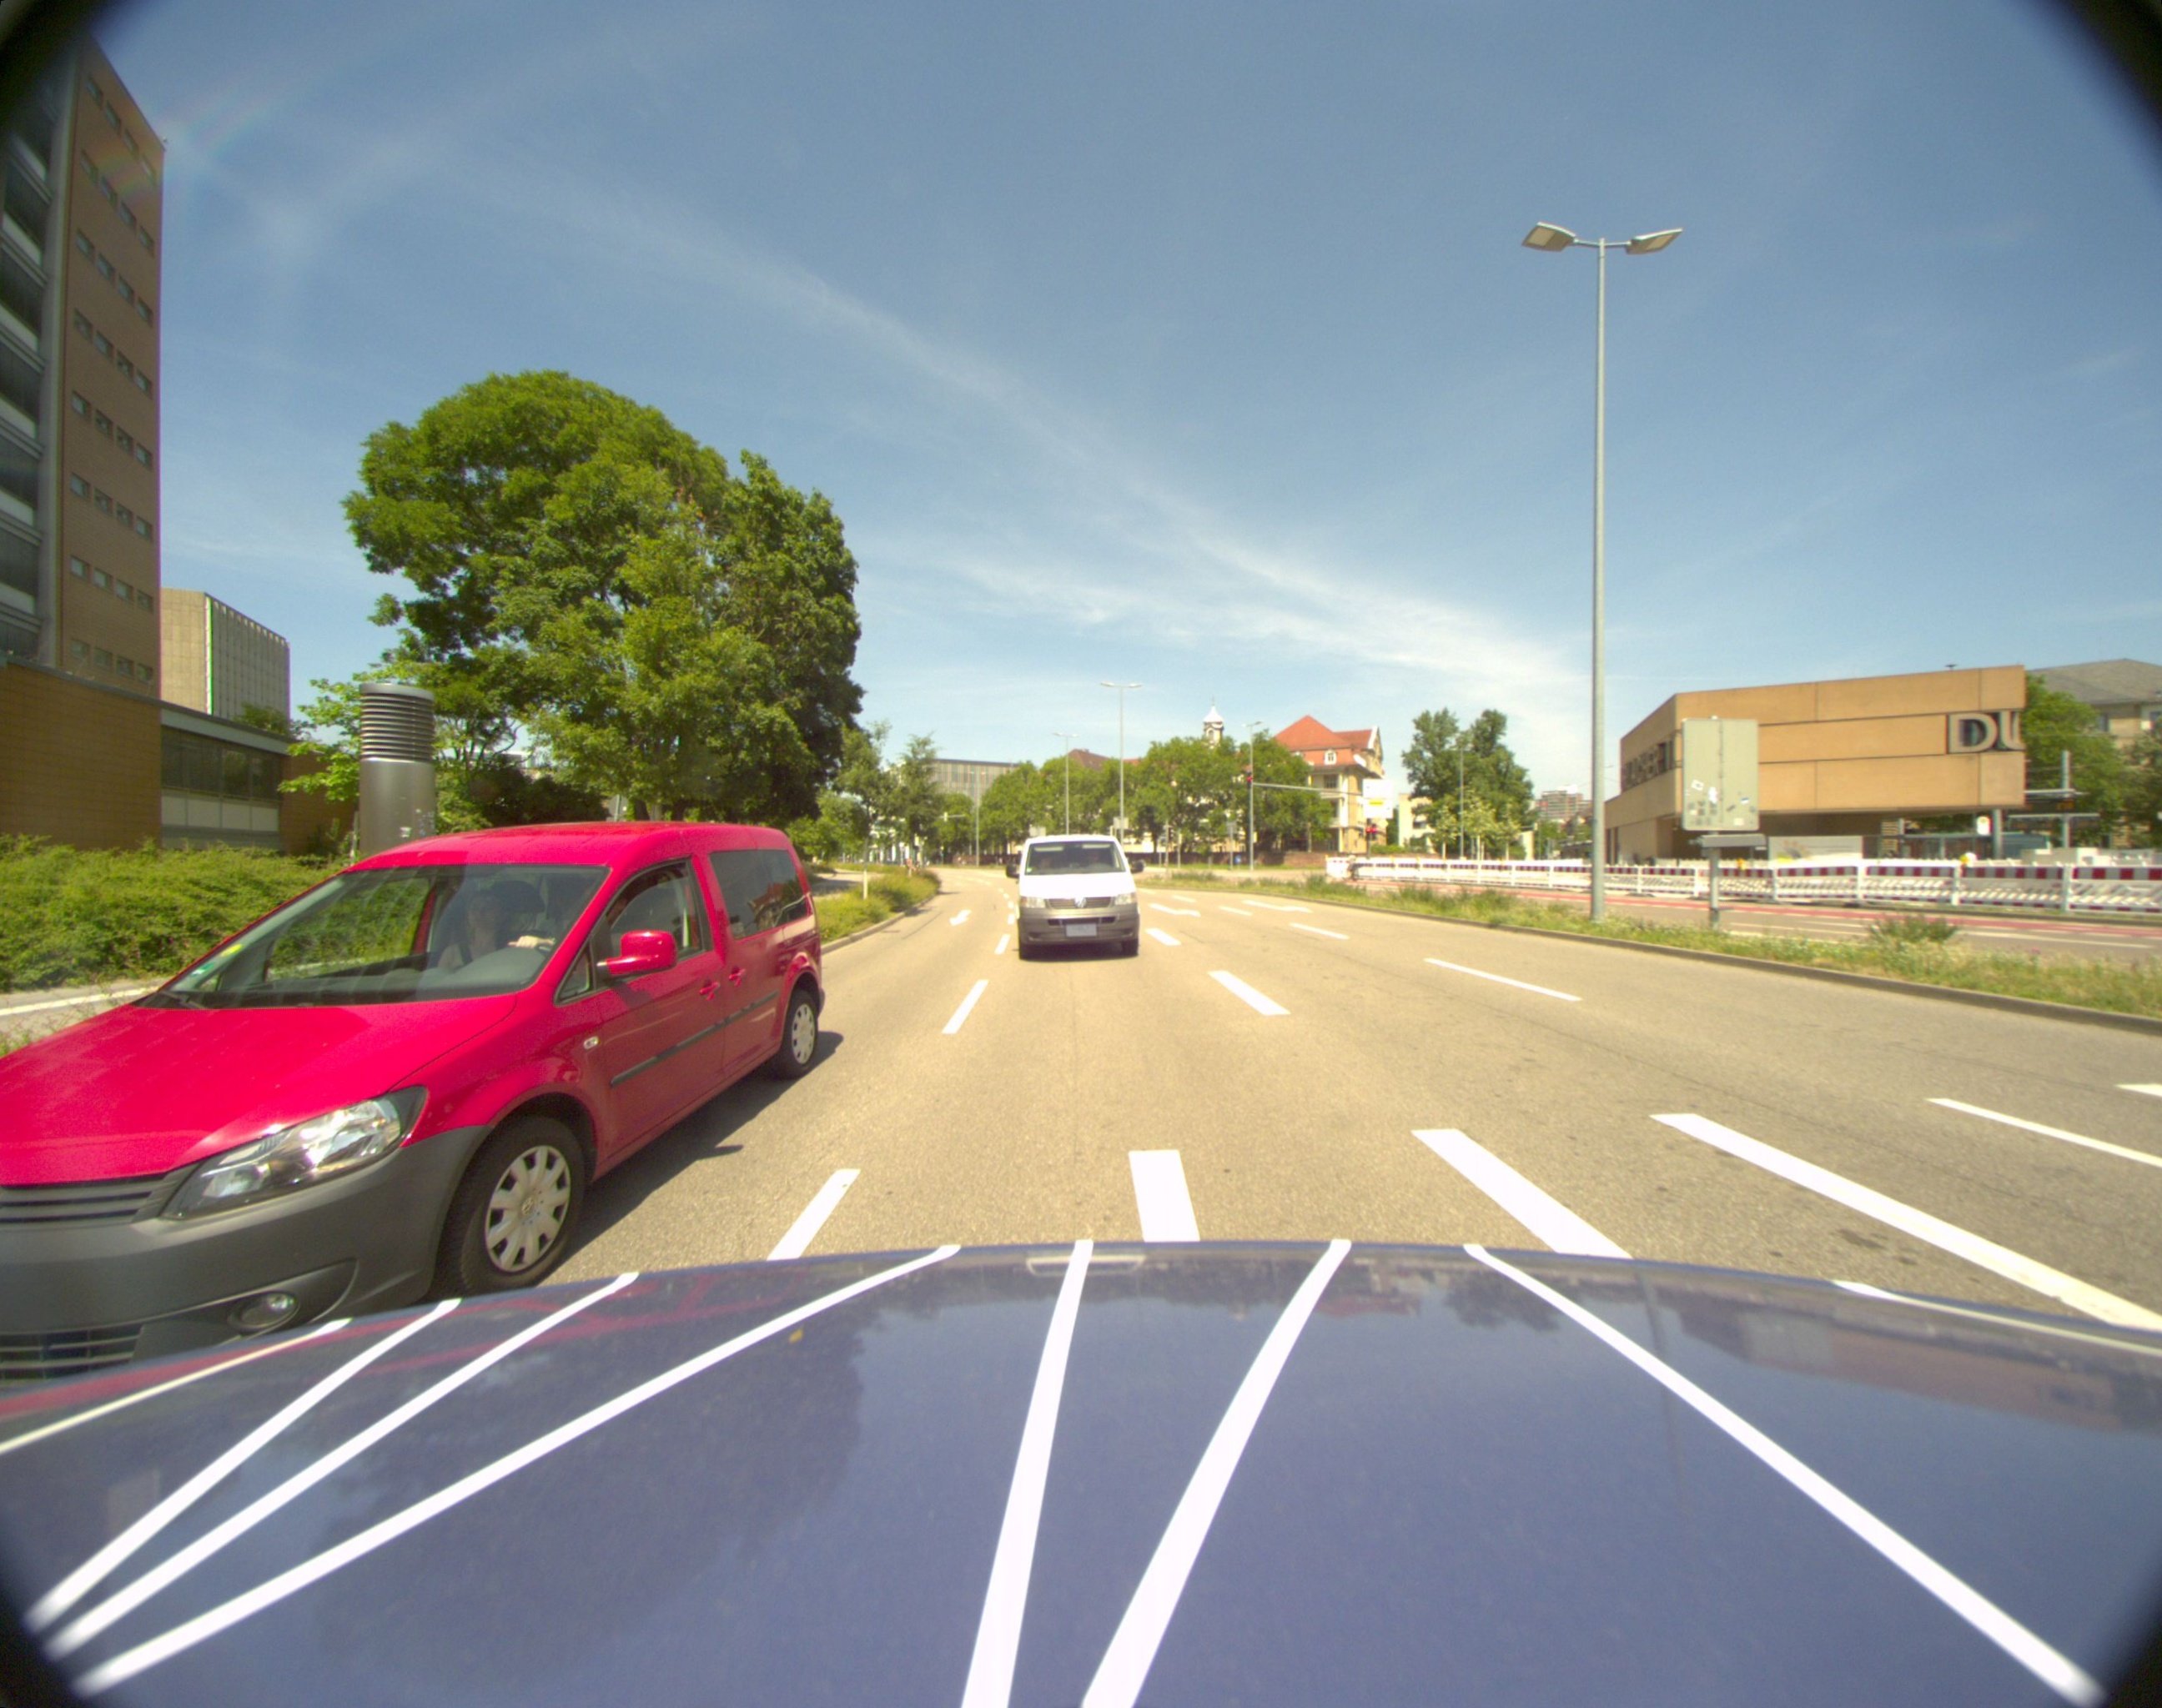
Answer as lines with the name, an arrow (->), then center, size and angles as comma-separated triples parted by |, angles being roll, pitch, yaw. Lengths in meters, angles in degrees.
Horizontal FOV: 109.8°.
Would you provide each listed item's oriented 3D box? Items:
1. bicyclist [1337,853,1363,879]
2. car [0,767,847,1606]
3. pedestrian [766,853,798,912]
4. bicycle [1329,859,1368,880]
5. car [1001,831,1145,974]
bicyclist -> 14.360, 0.644, 40.566 | 0.587, 1.348, 1.438 | -3, 1, -14
car -> -2.813, 0.752, 3.954 | 1.655, 1.848, 4.546 | -1, 0, 1
pedestrian -> -9.194, 0.868, 23.367 | 0.728, 1.787, 0.614 | 0, 1, 1
bicycle -> 14.227, 0.802, 40.509 | 0.879, 1.066, 2.229 | -2, 1, -14
car -> -0.198, 0.677, 13.150 | 1.971, 1.958, 4.847 | -2, 0, -2
